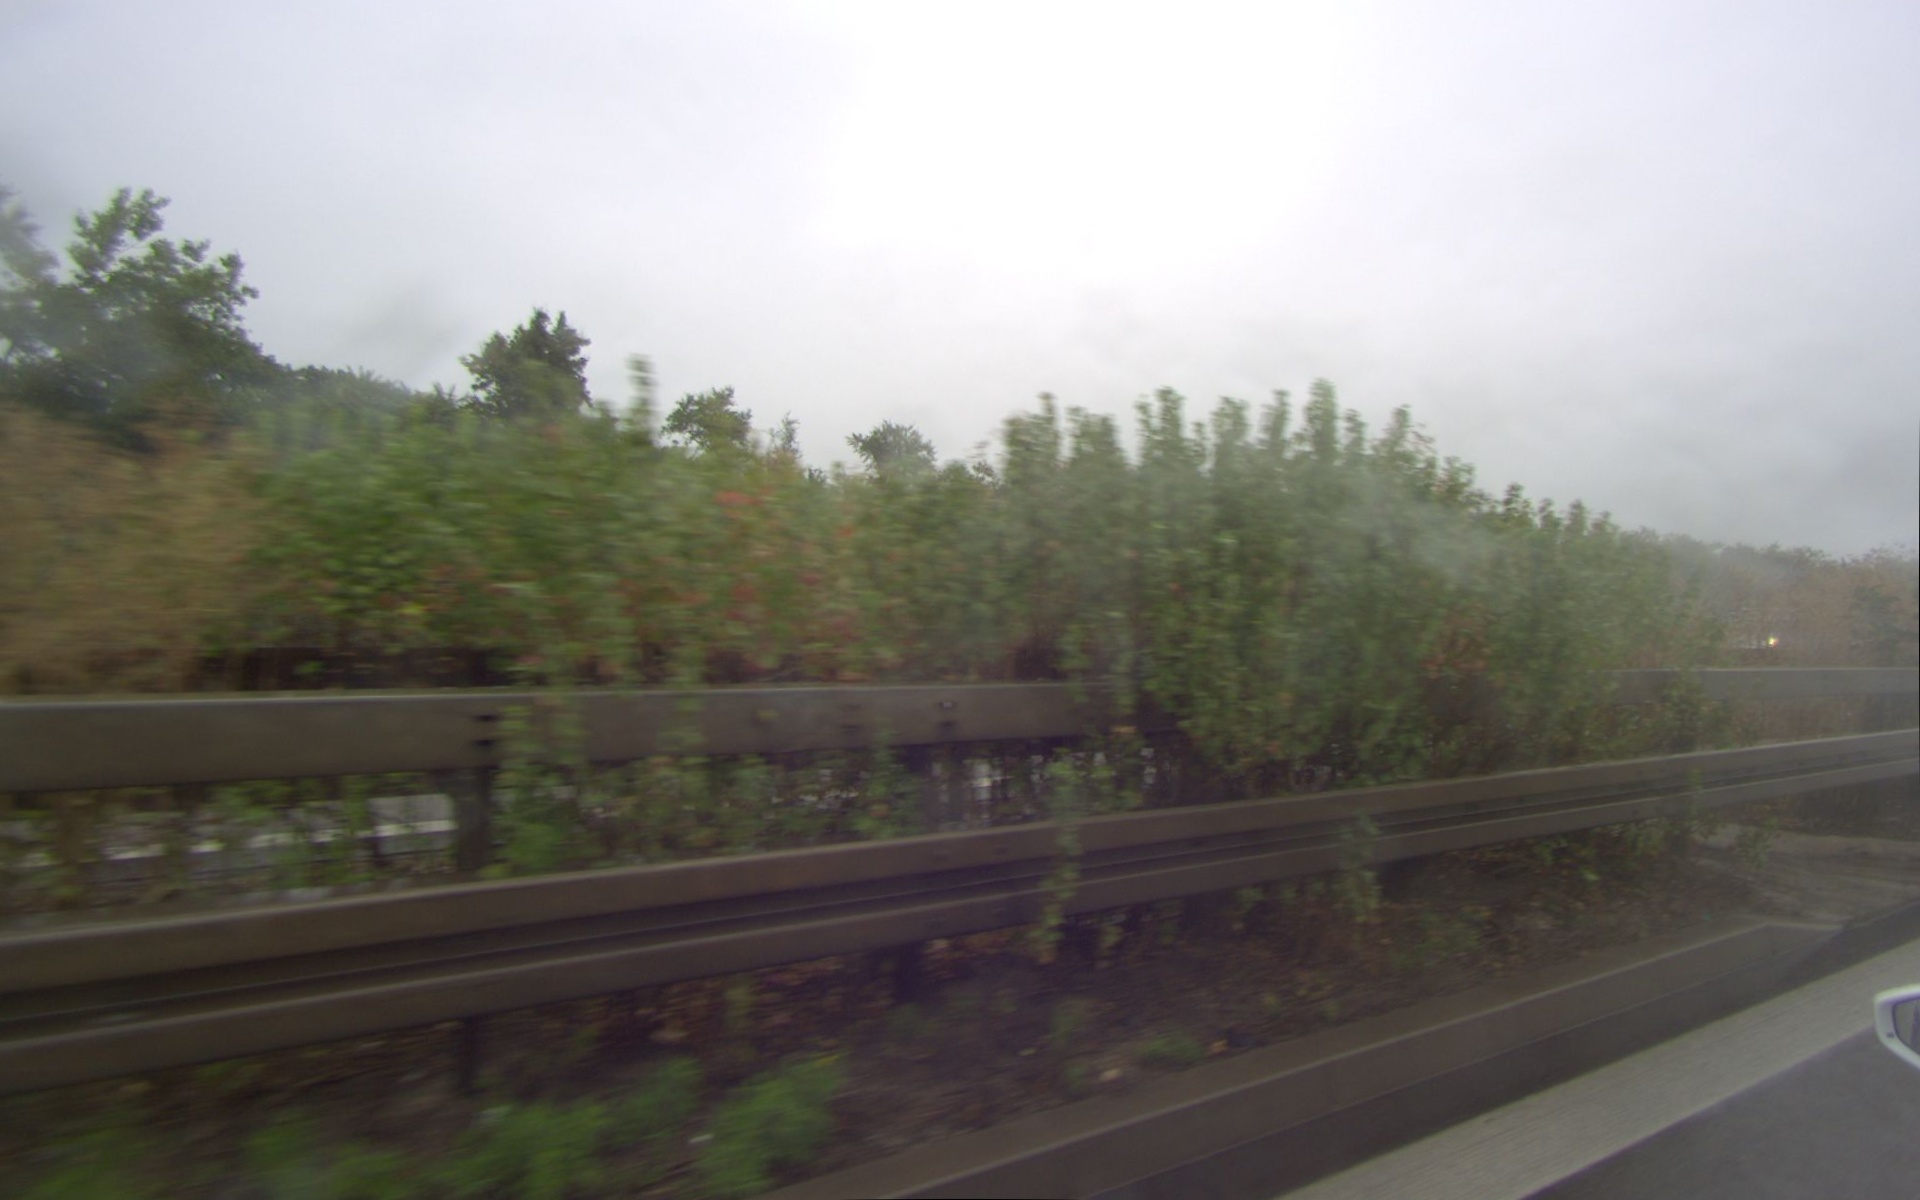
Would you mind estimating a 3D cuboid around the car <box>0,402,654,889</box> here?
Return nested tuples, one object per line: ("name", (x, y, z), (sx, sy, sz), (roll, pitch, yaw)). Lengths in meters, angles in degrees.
("car", (-6.033, 0.337, 9.067), (5.986, 3.545, 1.983), (0, 0, -32))
